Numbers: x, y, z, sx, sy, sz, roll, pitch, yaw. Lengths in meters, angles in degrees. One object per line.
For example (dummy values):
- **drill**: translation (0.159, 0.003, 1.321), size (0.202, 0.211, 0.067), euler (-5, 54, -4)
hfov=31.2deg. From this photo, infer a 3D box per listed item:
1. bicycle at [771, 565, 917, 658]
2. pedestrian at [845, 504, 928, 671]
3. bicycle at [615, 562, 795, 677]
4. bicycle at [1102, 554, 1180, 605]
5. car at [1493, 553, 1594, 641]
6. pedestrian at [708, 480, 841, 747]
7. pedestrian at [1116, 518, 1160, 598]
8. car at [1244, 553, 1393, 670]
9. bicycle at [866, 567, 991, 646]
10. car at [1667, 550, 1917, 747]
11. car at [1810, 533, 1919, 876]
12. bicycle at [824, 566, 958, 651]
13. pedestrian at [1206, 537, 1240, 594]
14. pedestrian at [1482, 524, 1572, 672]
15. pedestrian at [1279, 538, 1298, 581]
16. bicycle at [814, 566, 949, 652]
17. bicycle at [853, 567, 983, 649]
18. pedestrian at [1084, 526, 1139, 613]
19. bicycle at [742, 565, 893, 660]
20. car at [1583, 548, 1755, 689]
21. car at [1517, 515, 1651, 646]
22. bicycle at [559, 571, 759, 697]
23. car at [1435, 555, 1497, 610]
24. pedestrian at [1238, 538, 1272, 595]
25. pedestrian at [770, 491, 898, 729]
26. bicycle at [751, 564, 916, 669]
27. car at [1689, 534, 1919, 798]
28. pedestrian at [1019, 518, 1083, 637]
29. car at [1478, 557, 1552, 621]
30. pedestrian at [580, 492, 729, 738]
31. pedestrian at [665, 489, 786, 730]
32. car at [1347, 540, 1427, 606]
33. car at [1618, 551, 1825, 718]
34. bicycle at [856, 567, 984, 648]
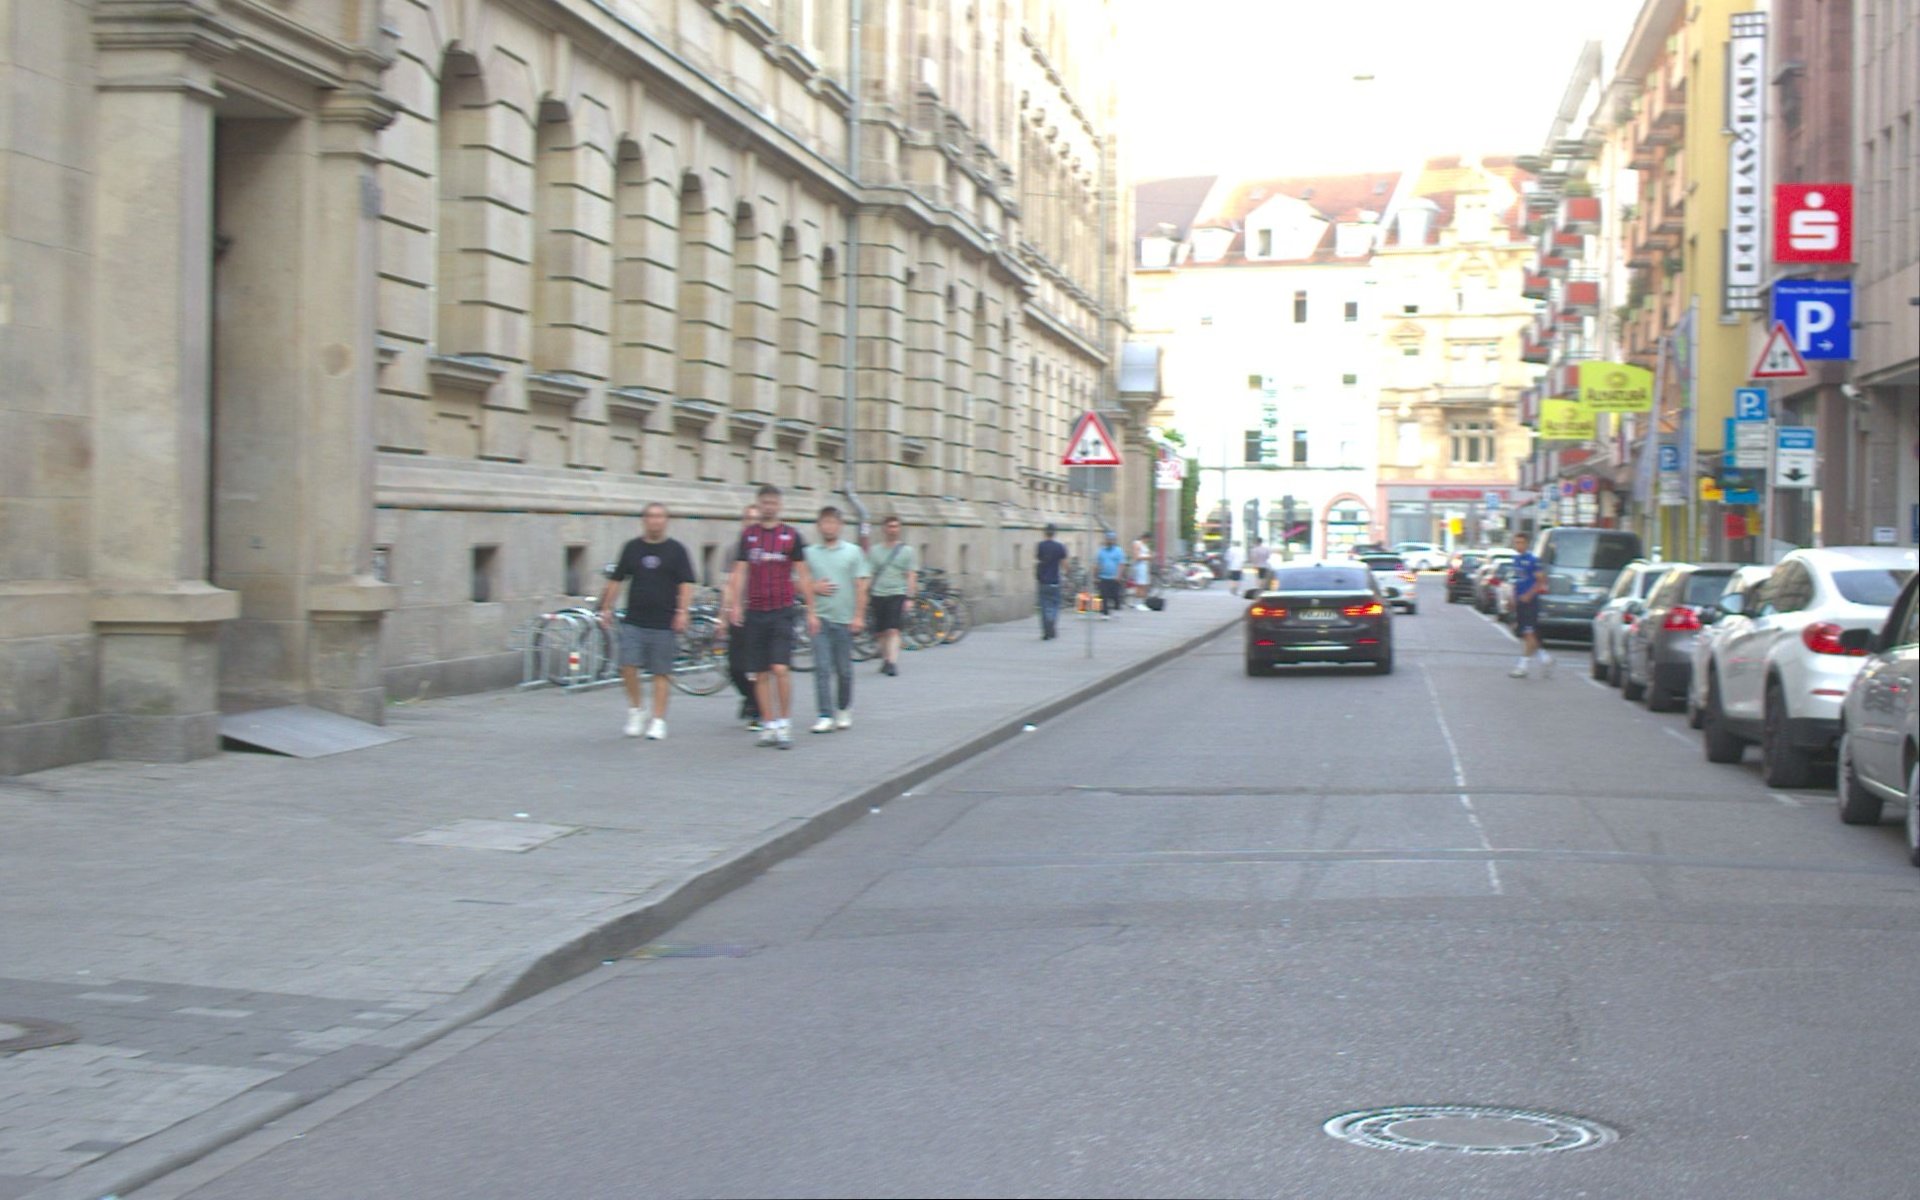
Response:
- **bicycle**: translation (-1.406, 0.134, 41.738), size (1.680, 1.037, 0.487), euler (3, 1, 6)
- **pedestrian**: translation (-0.794, -0.140, 37.260), size (0.719, 1.746, 0.669), euler (4, 1, 5)
- **bicycle**: translation (-2.498, 0.189, 33.613), size (1.679, 1.037, 0.487), euler (2, 1, -10)
- **bicycle**: translation (4.163, -0.472, 79.039), size (1.680, 1.037, 0.487), euler (4, 1, 8)
- **car**: translation (10.968, -0.076, 64.753), size (1.644, 1.518, 3.284), euler (3, 1, 7)
- **pedestrian**: translation (-1.306, 0.086, 24.381), size (0.698, 1.806, 0.975), euler (4, 1, 5)
- **pedestrian**: translation (4.050, -0.957, 78.130), size (0.808, 1.746, 0.936), euler (4, 1, 6)
- **car**: translation (4.523, 0.115, 43.291), size (1.770, 1.404, 4.051), euler (0, 1, 6)
- **bicycle**: translation (-0.436, 0.089, 48.548), size (1.680, 1.037, 0.487), euler (3, 1, 6)
- **car**: translation (7.122, 0.370, 29.699), size (1.644, 1.518, 3.284), euler (3, 1, 7)
- **car**: translation (5.665, 0.510, 17.982), size (1.770, 1.630, 4.051), euler (3, 1, 6)
- **bicycle**: translation (-0.913, 0.108, 45.501), size (1.680, 1.037, 0.487), euler (3, 1, 6)
- **pedestrian**: translation (8.312, -1.088, 108.764), size (0.933, 1.746, 0.810), euler (4, 1, 4)
- **pedestrian**: translation (6.928, -0.032, 42.009), size (0.820, 1.785, 0.727), euler (0, 1, -18)
- **pedestrian**: translation (13.829, -1.698, 144.879), size (0.666, 1.746, 0.681), euler (4, 1, 4)
- **bicycle**: translation (-1.027, 0.111, 45.056), size (1.680, 1.037, 0.487), euler (3, 1, 6)
- **bicycle**: translation (-0.564, 0.102, 46.800), size (1.680, 1.037, 0.487), euler (3, 1, 6)
- **pedestrian**: translation (2.968, -0.597, 67.408), size (0.933, 1.631, 0.654), euler (4, 1, 5)
- **bicycle**: translation (-1.677, 0.141, 40.492), size (1.680, 1.037, 0.487), euler (3, 1, 6)
- **car**: translation (8.352, 0.188, 40.681), size (1.644, 1.518, 3.284), euler (3, 1, 7)
- **car**: translation (10.330, -0.343, 57.109), size (1.870, 2.011, 3.765), euler (3, 1, 7)
- **bicycle**: translation (-2.695, 0.293, 30.785), size (1.680, 1.037, 0.487), euler (3, 1, 13)
- **car**: translation (14.876, -0.520, 101.240), size (1.644, 1.518, 3.284), euler (3, 1, 7)
- **pedestrian**: translation (9.372, -1.079, 109.152), size (0.933, 1.746, 0.810), euler (4, 1, 4)
- **pedestrian**: translation (-0.957, 0.070, 26.324), size (0.787, 1.746, 0.722), euler (4, 1, 5)
- **bicycle**: translation (-1.362, 0.173, 37.036), size (1.680, 1.037, 0.487), euler (3, 1, 6)
- **car**: translation (6.272, 0.402, 23.762), size (1.770, 1.630, 4.090), euler (3, 1, 4)
- **pedestrian**: translation (1.393, -0.353, 52.417), size (0.804, 1.746, 0.810), euler (4, 1, 5)
- **car**: translation (13.981, -0.293, 86.745), size (1.644, 1.518, 3.284), euler (3, 1, 7)
- **pedestrian**: translation (-2.170, 0.098, 24.543), size (0.797, 1.669, 0.975), euler (4, 1, 5)
- **pedestrian**: translation (-1.766, 0.063, 25.949), size (0.689, 1.746, 0.722), euler (4, 1, 5)
- **car**: translation (10.226, -0.676, 82.564), size (1.794, 1.505, 3.999), euler (1, 1, 6)
- **car**: translation (7.614, 0.302, 34.612), size (1.644, 1.518, 3.284), euler (3, 1, 7)
- **bicycle**: translation (-0.551, 0.098, 47.266), size (1.680, 1.037, 0.487), euler (3, 1, 6)
